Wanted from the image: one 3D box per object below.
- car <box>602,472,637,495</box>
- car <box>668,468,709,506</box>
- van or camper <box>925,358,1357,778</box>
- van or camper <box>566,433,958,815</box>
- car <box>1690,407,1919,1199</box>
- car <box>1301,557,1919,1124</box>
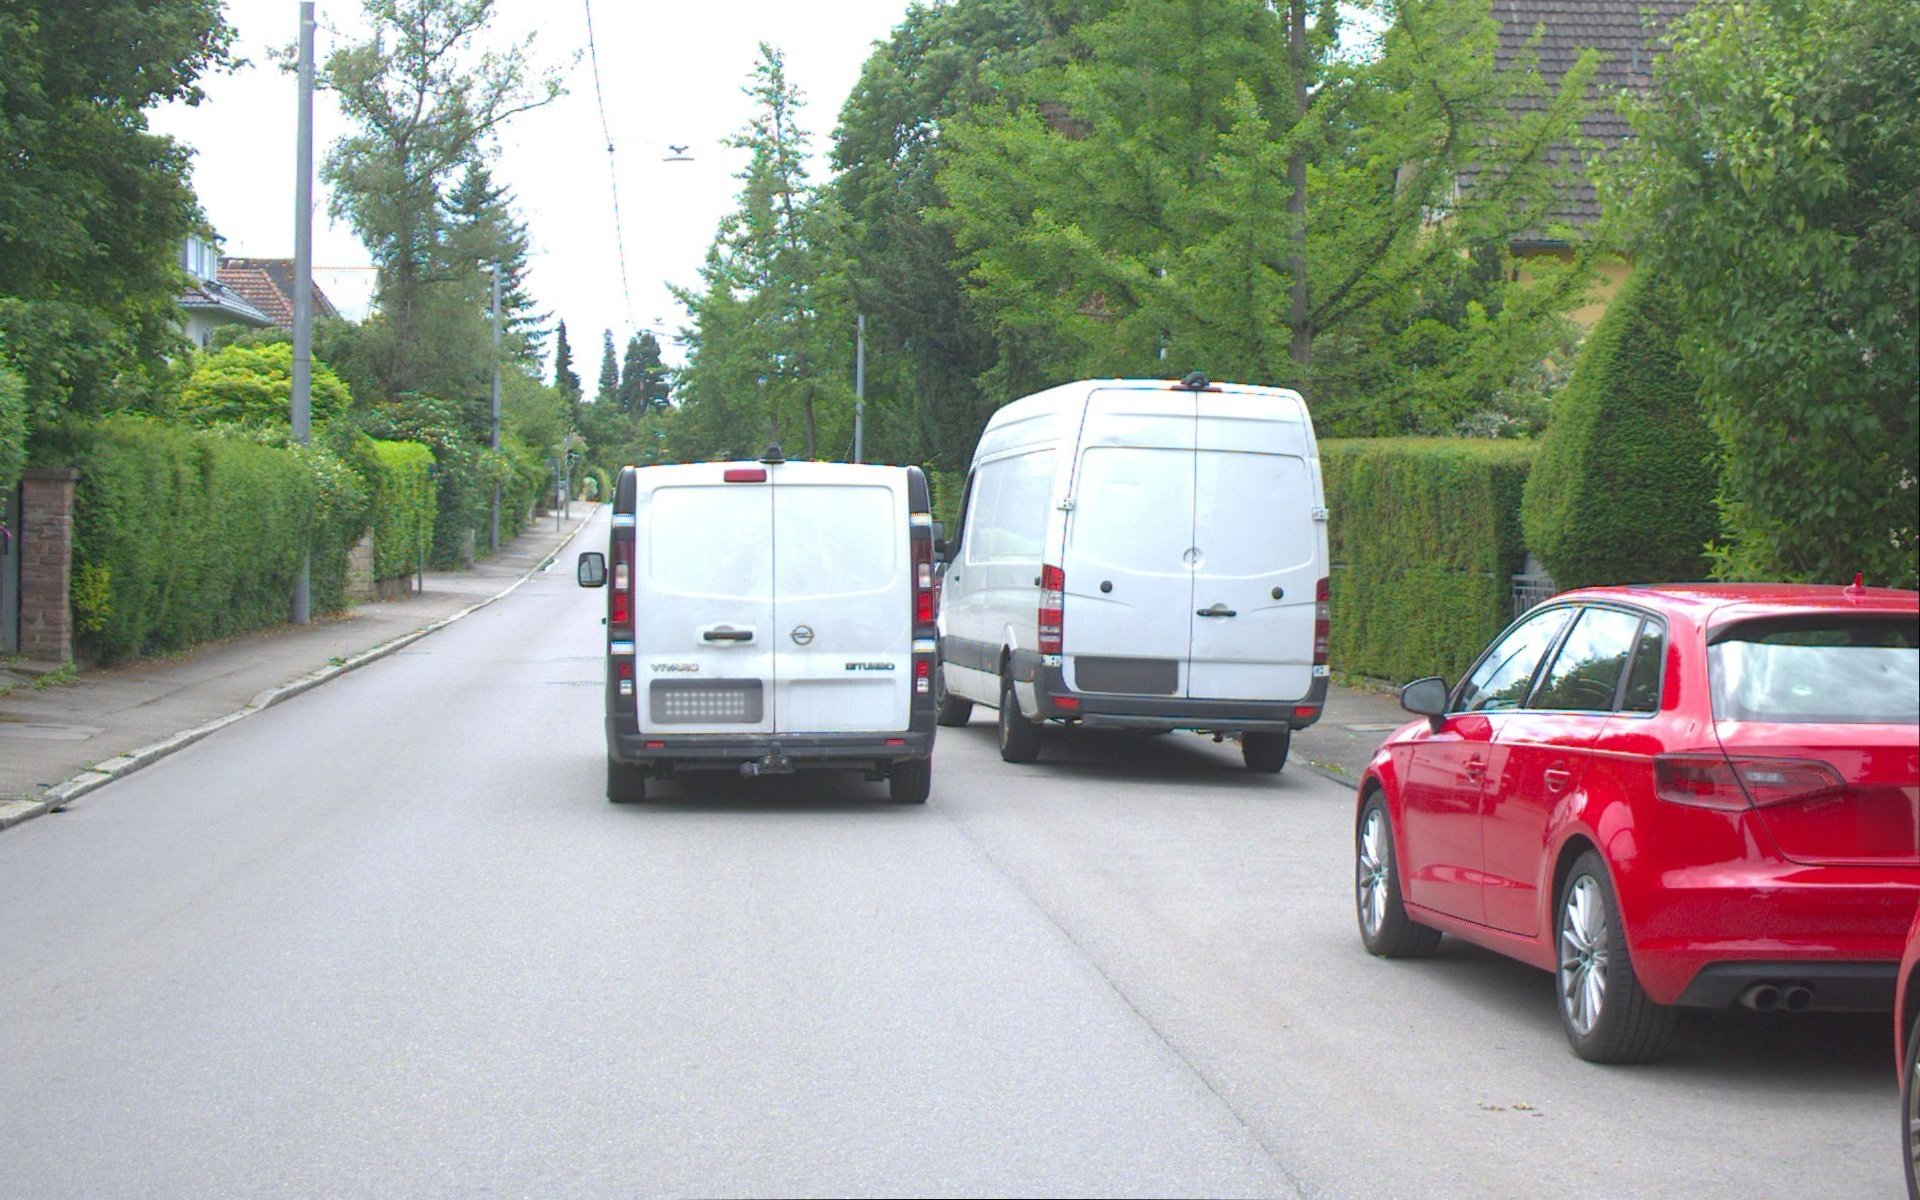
[{"bbox_3d":[-21.701,-7.423,219.227,1.689,1.470,3.581,0,2,3],"label":"car"},{"bbox_3d":[-12.511,-5.227,158.217,1.775,1.645,3.645,0,3,-6],"label":"car"},{"bbox_3d":[1.142,-0.264,25.315,2.066,2.665,6.330,1,1,-7],"label":"van or camper"},{"bbox_3d":[-1.338,0.025,20.989,1.923,2.006,4.831,1,3,-8],"label":"van or camper"},{"bbox_3d":[2.894,0.531,6.288,1.760,1.791,4.950,1,1,-3],"label":"car"},{"bbox_3d":[2.469,0.629,11.439,1.712,1.462,4.269,1,1,-7],"label":"car"}]
